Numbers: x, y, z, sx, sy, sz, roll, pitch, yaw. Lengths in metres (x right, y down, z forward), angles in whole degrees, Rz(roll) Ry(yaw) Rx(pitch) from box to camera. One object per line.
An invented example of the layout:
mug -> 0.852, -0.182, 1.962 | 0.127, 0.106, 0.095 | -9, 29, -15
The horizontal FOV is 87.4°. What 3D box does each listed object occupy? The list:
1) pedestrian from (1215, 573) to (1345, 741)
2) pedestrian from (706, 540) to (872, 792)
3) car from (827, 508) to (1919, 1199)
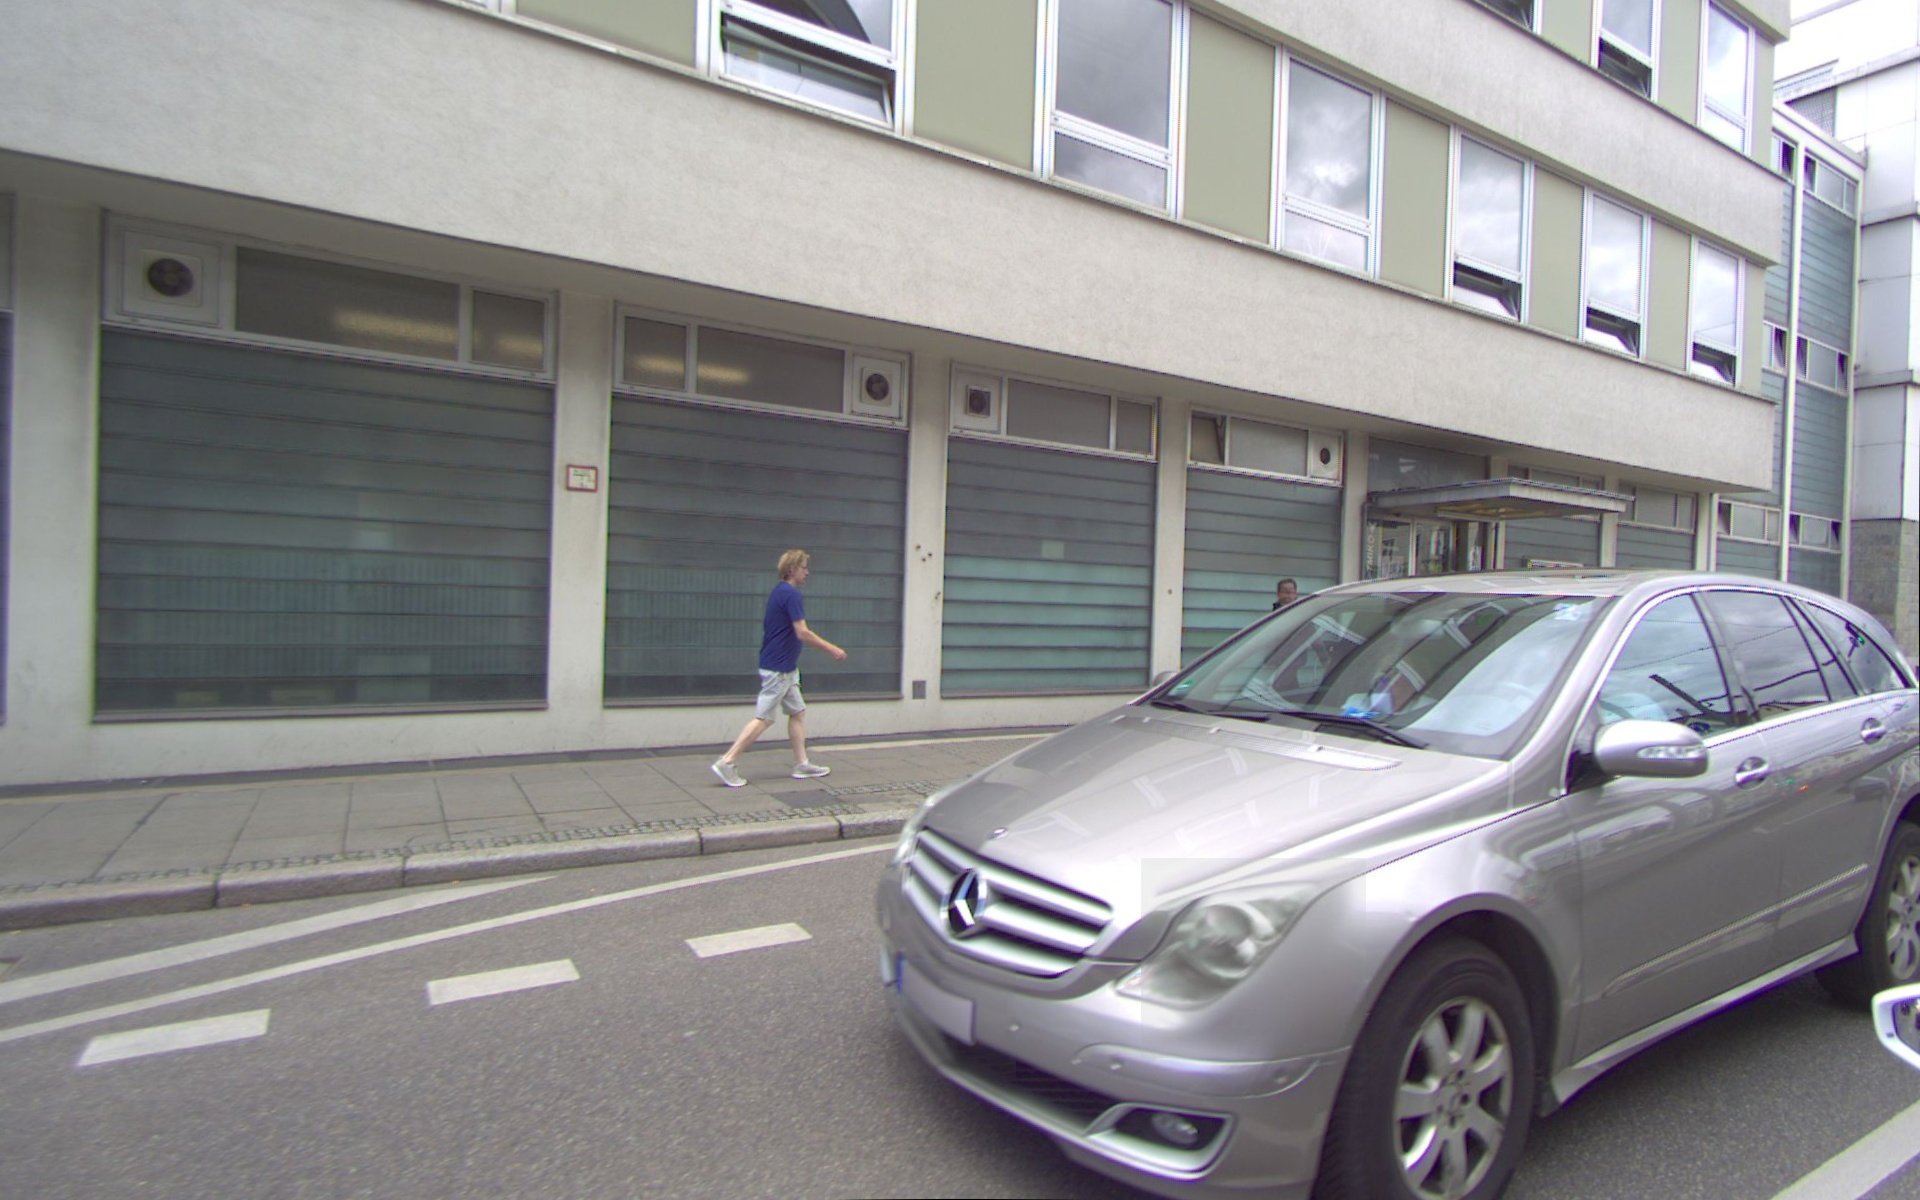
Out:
pedestrian -> 3.531, 0.591, 11.103 | 1.020, 1.741, 0.857 | 1, 2, -33
pedestrian -> -1.265, 0.463, 7.459 | 1.044, 1.741, 0.586 | 1, 0, -33
car -> 2.024, 0.700, 3.836 | 4.712, 1.654, 1.767 | 1, 0, -30
